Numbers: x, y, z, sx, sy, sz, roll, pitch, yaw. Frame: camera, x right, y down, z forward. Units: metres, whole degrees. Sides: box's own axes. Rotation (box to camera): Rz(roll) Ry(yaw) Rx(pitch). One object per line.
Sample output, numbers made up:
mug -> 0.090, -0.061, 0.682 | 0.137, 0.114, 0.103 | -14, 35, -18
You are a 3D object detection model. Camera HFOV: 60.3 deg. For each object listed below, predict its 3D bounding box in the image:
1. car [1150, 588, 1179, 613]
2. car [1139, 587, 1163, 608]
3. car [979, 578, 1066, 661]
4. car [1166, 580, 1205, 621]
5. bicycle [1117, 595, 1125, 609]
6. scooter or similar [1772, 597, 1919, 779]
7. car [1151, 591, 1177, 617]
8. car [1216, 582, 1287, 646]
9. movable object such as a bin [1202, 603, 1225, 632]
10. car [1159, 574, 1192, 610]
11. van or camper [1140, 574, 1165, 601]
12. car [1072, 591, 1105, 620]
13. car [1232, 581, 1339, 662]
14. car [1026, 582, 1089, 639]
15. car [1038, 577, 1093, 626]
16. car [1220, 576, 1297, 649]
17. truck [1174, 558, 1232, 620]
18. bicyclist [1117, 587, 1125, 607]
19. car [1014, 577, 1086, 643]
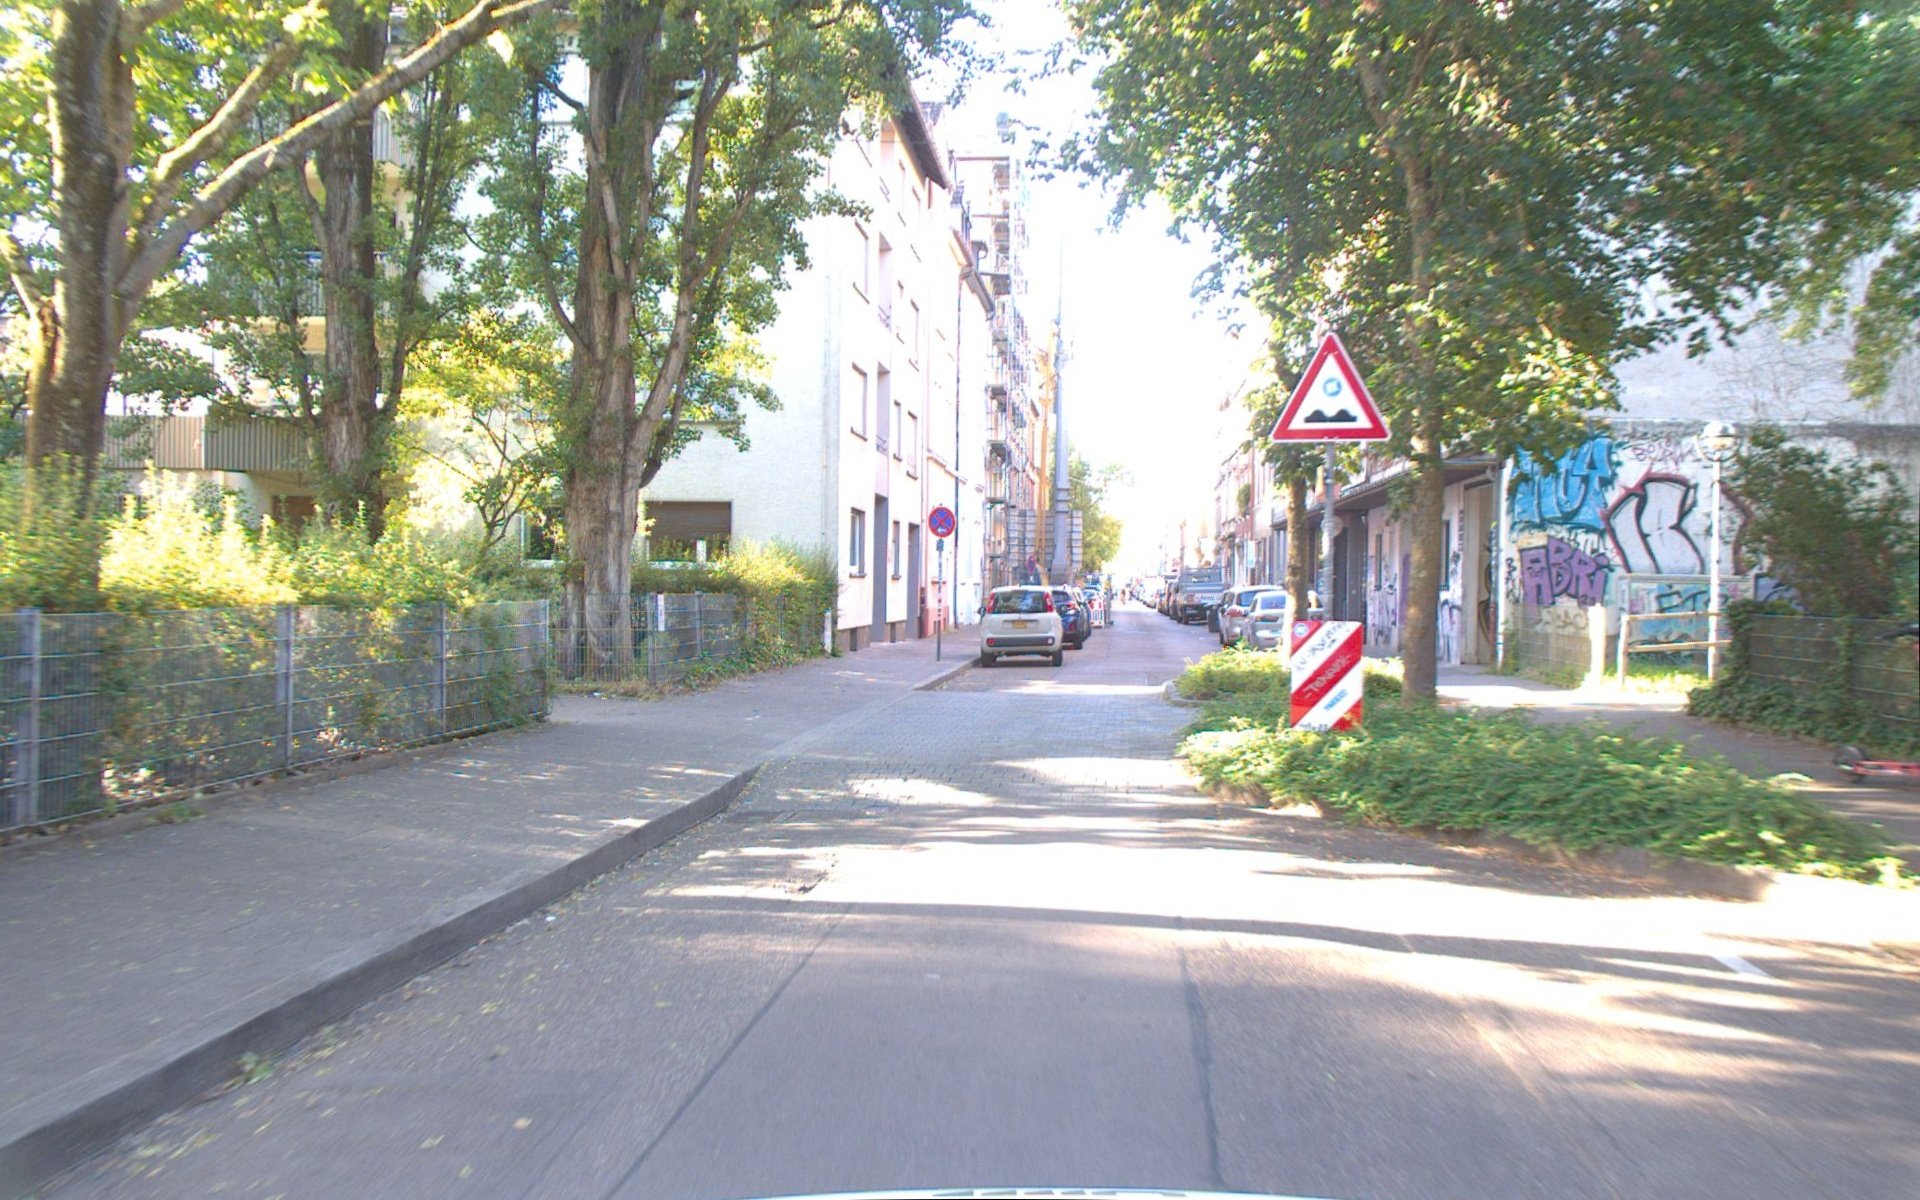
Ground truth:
car -> 13.566, 0.033, 109.967 | 1.640, 1.598, 3.871 | 0, 0, 3
car -> 17.163, -0.250, 148.751 | 1.951, 1.881, 4.002 | -1, 0, 4
car -> 1.305, 0.378, 33.451 | 1.640, 1.566, 3.871 | -1, 0, 3
car -> 11.436, 0.025, 84.080 | 1.640, 1.997, 4.111 | 0, 0, 3
bicycle -> 14.732, 0.183, 151.420 | 0.709, 1.207, 2.044 | 1, 1, 6
scooter or similar -> 6.866, 0.628, 12.292 | 0.538, 1.284, 1.461 | -1, 0, -25
car -> 16.542, 0.302, 134.273 | 1.951, 2.049, 4.002 | 0, 0, 4
car -> 8.131, 0.376, 46.372 | 1.709, 1.705, 4.344 | 0, 0, 7
movable object such as a bin -> 9.409, 0.636, 61.391 | 0.778, 1.074, 0.660 | 0, 0, 5
car -> 12.540, -0.448, 96.533 | 1.640, 2.066, 3.871 | 0, 0, 3
van or camper -> 18.935, -1.204, 162.816 | 1.952, 2.552, 4.203 | -1, 0, 1
car -> 6.676, 0.280, 86.204 | 1.640, 1.470, 3.871 | 0, 0, 3
car -> 6.761, 0.423, 34.697 | 1.685, 1.589, 4.401 | 0, 0, 4
car -> 2.841, 0.261, 47.442 | 1.639, 1.538, 4.417 | -1, 0, 5
car -> 3.445, 0.039, 53.379 | 1.639, 1.503, 4.611 | 0, 0, 5
car -> 7.322, 0.294, 40.842 | 1.605, 1.685, 3.872 | 0, 0, 6
truck -> 10.770, -0.483, 73.586 | 2.144, 2.652, 5.237 | -1, 0, 4
bicyclist -> 14.761, -0.280, 151.525 | 0.715, 1.792, 0.836 | 1, 1, 6
car -> 2.306, 0.252, 42.230 | 1.693, 1.566, 4.379 | -1, 0, 3
